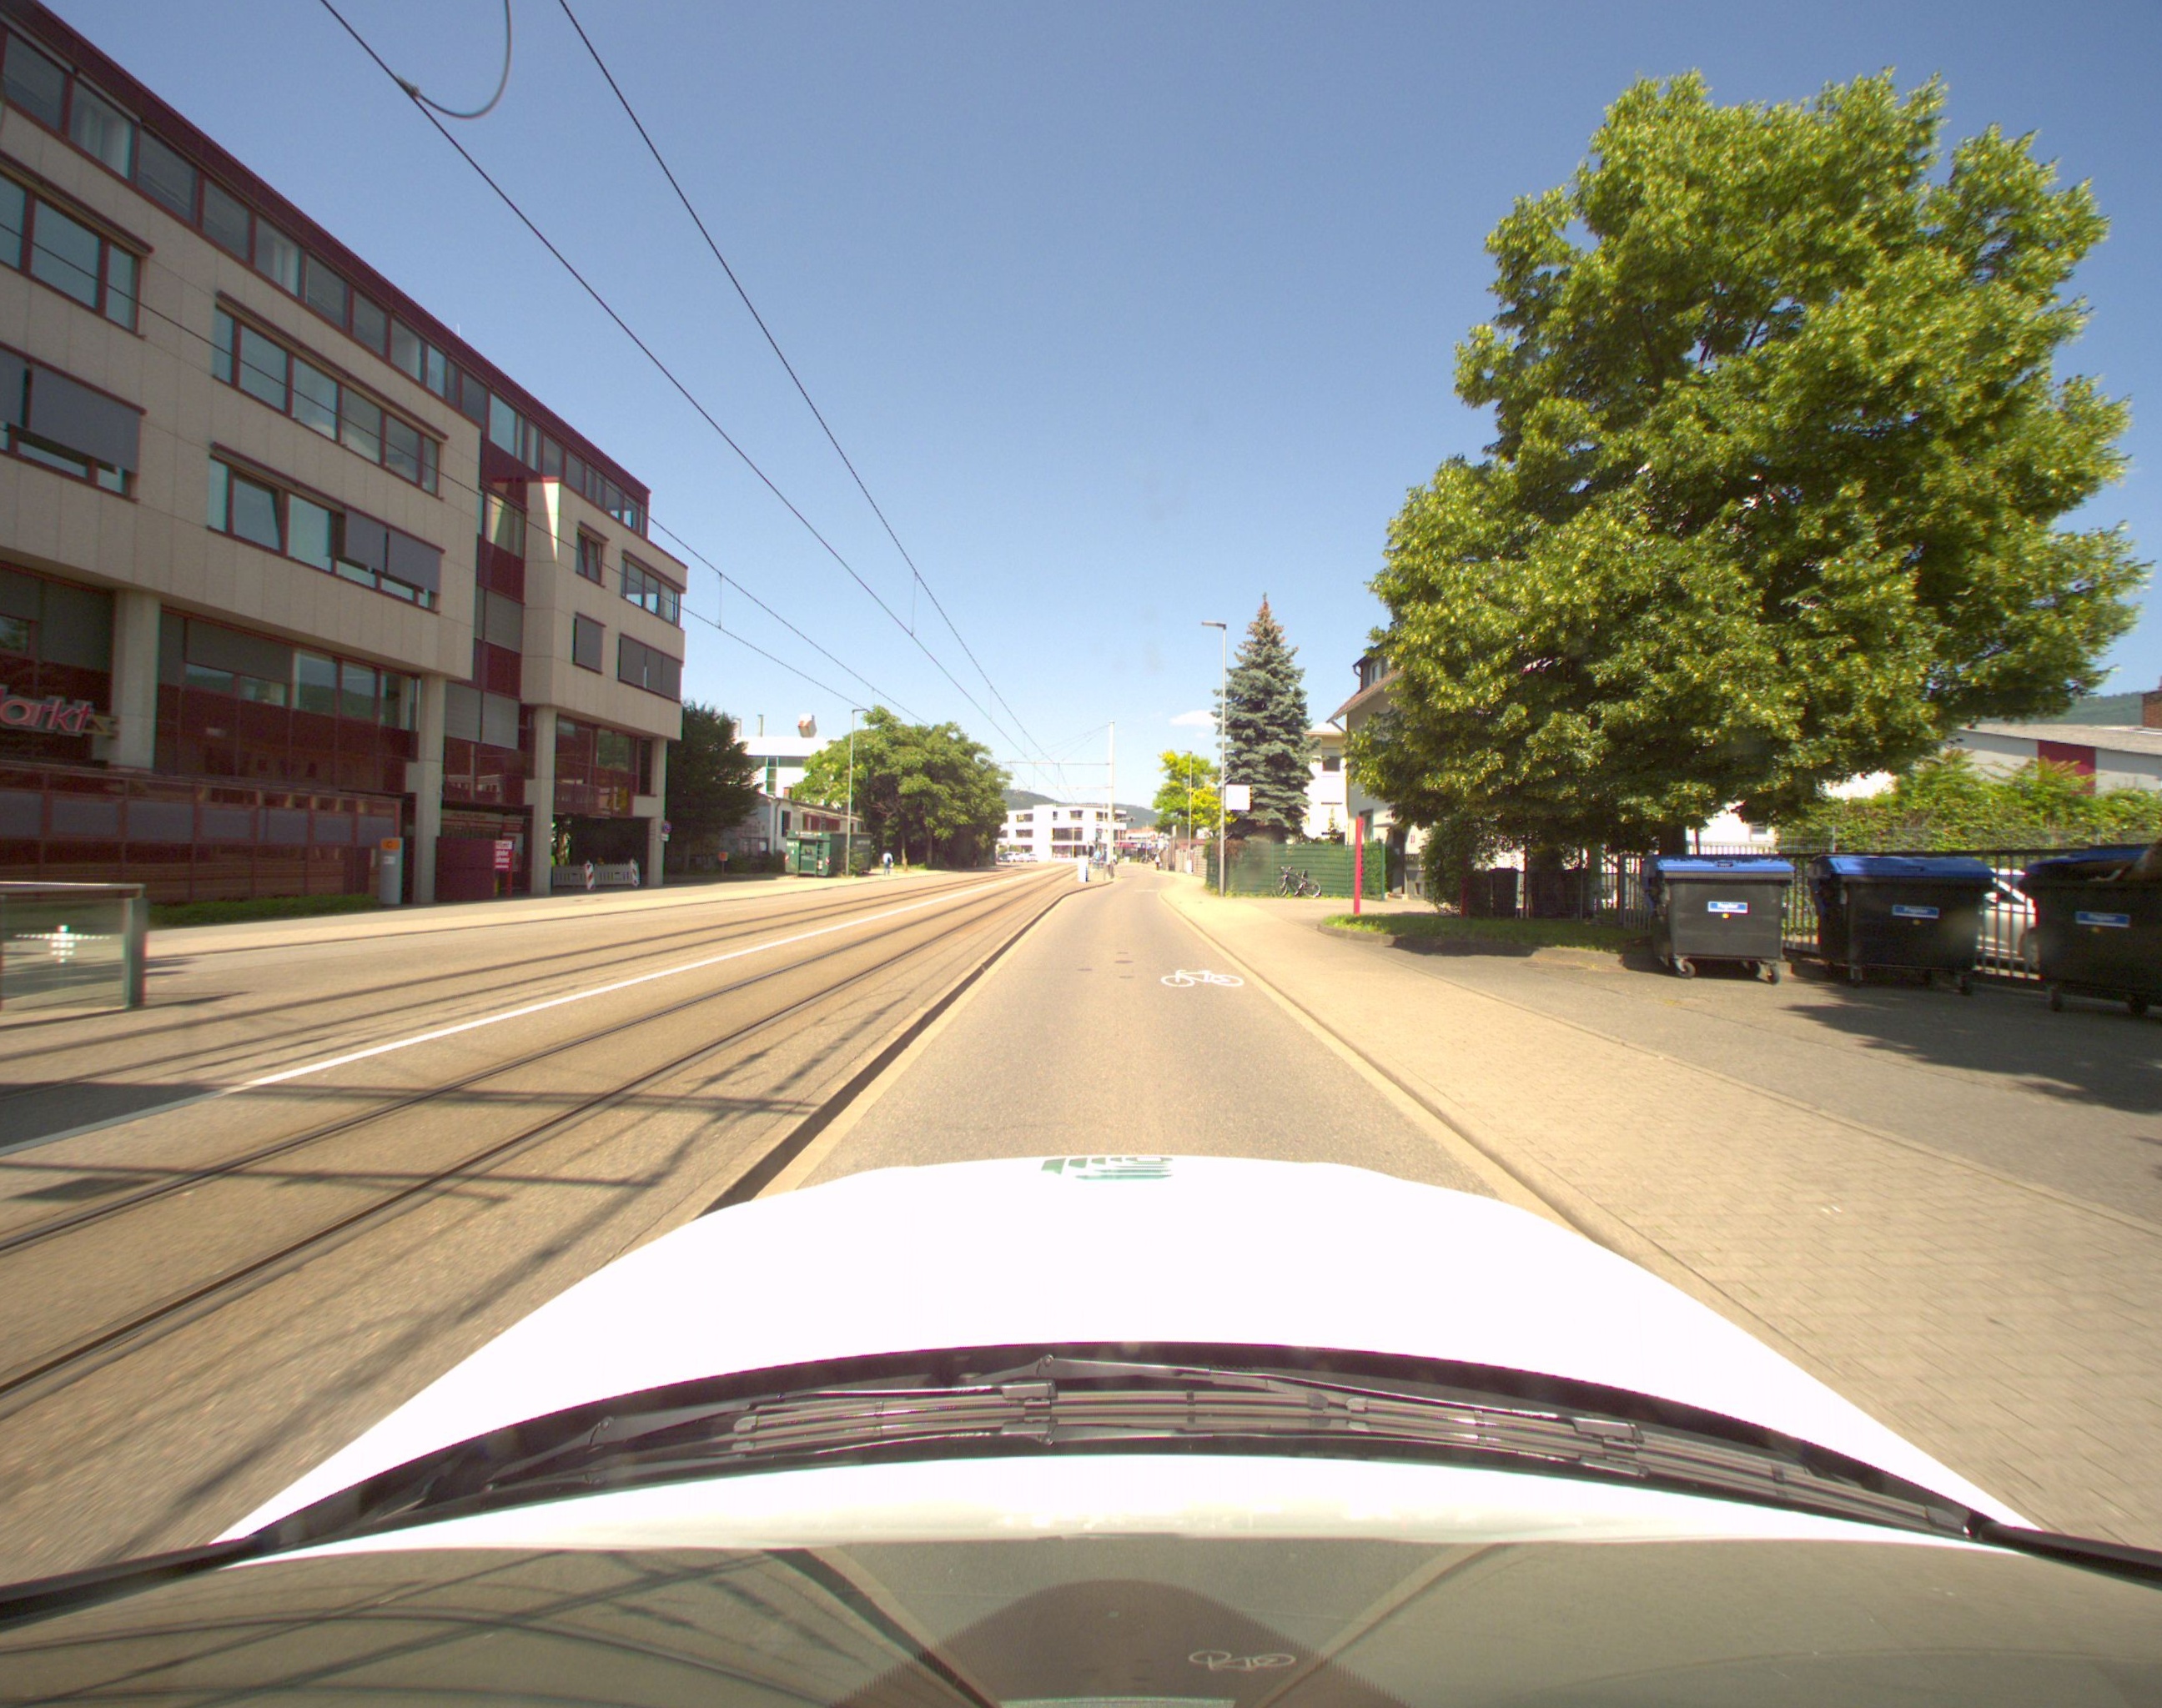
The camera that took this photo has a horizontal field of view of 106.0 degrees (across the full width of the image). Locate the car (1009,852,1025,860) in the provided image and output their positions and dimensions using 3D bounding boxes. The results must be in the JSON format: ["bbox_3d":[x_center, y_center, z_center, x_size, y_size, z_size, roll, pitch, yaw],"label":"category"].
[{"bbox_3d":[-12.503,0.380,158.156,1.936,1.647,3.731,0,0,-24],"label":"car"}]

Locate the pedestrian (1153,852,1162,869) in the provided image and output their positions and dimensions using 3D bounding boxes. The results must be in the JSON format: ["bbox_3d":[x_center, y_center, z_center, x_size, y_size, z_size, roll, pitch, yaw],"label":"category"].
[{"bbox_3d":[8.214,0.720,87.617,0.936,1.787,0.953,1,1,1],"label":"pedestrian"}]

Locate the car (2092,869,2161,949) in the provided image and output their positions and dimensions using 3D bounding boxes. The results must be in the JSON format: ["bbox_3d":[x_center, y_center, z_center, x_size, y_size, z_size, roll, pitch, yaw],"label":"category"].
[{"bbox_3d":[19.663,1.000,13.278,1.709,1.354,3.804,0,1,2],"label":"car"}]

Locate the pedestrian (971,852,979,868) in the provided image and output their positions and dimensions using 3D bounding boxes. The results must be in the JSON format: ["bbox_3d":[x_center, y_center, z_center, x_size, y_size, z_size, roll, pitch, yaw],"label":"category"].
[{"bbox_3d":[-10.164,0.596,78.082,0.581,1.537,0.657,0,0,1],"label":"pedestrian"}]

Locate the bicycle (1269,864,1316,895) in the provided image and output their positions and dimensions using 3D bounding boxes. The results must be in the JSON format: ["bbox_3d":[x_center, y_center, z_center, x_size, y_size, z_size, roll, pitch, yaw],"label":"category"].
[{"bbox_3d":[7.060,0.853,27.164,1.466,0.990,0.388,0,-3,0],"label":"bicycle"}]

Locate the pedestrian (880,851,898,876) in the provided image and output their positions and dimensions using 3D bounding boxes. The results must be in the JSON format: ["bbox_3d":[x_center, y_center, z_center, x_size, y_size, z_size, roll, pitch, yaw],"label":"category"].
[{"bbox_3d":[-11.656,0.563,49.409,0.831,1.537,0.838,0,0,1],"label":"pedestrian"}]

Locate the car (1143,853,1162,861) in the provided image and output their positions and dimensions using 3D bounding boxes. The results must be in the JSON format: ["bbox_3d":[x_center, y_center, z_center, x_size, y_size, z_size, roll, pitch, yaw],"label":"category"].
[{"bbox_3d":[15.082,0.729,171.685,4.022,1.662,1.843,0,0,-43],"label":"car"}]

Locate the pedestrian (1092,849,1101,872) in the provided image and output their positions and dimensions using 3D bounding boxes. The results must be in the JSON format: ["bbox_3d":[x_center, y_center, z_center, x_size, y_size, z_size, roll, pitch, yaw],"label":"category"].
[{"bbox_3d":[1.232,0.514,64.775,0.740,1.740,0.727,0,0,1],"label":"pedestrian"}]

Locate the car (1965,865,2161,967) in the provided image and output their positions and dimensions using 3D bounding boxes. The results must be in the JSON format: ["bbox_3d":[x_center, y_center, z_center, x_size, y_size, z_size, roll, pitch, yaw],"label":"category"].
[{"bbox_3d":[16.732,0.945,12.227,1.880,1.378,4.772,0,1,2],"label":"car"}]

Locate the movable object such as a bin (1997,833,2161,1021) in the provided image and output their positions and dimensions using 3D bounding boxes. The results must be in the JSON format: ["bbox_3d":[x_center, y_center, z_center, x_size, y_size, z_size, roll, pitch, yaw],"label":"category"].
[{"bbox_3d":[9.389,0.625,7.248,0.975,1.547,1.320,1,-2,-2],"label":"movable object such as a bin"}]

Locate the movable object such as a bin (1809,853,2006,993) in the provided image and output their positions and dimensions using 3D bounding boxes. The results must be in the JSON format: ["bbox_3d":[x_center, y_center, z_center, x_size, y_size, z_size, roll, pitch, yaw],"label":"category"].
[{"bbox_3d":[9.102,0.720,9.052,1.304,1.430,0.890,0,-2,26],"label":"movable object such as a bin"}]

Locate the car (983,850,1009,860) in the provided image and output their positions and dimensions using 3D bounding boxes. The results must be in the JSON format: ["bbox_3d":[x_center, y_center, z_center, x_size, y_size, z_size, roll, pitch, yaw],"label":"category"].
[{"bbox_3d":[-13.683,0.129,131.027,3.969,1.552,1.794,0,0,3],"label":"car"}]

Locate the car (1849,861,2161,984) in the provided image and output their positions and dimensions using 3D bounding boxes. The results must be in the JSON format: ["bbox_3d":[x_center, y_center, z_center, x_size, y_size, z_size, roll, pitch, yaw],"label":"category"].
[{"bbox_3d":[13.969,0.866,11.950,1.736,1.459,4.002,1,0,2],"label":"car"}]

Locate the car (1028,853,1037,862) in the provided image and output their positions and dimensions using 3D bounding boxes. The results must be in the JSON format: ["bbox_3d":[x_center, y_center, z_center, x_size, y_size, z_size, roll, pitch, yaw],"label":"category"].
[{"bbox_3d":[-8.736,0.647,146.899,1.752,1.647,3.757,0,0,-4],"label":"car"}]

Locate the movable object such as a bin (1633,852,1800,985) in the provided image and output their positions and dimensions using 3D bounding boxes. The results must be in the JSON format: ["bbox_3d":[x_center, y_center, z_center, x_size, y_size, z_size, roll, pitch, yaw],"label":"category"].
[{"bbox_3d":[7.384,0.718,9.567,1.371,1.430,0.996,0,-2,26],"label":"movable object such as a bin"}]
